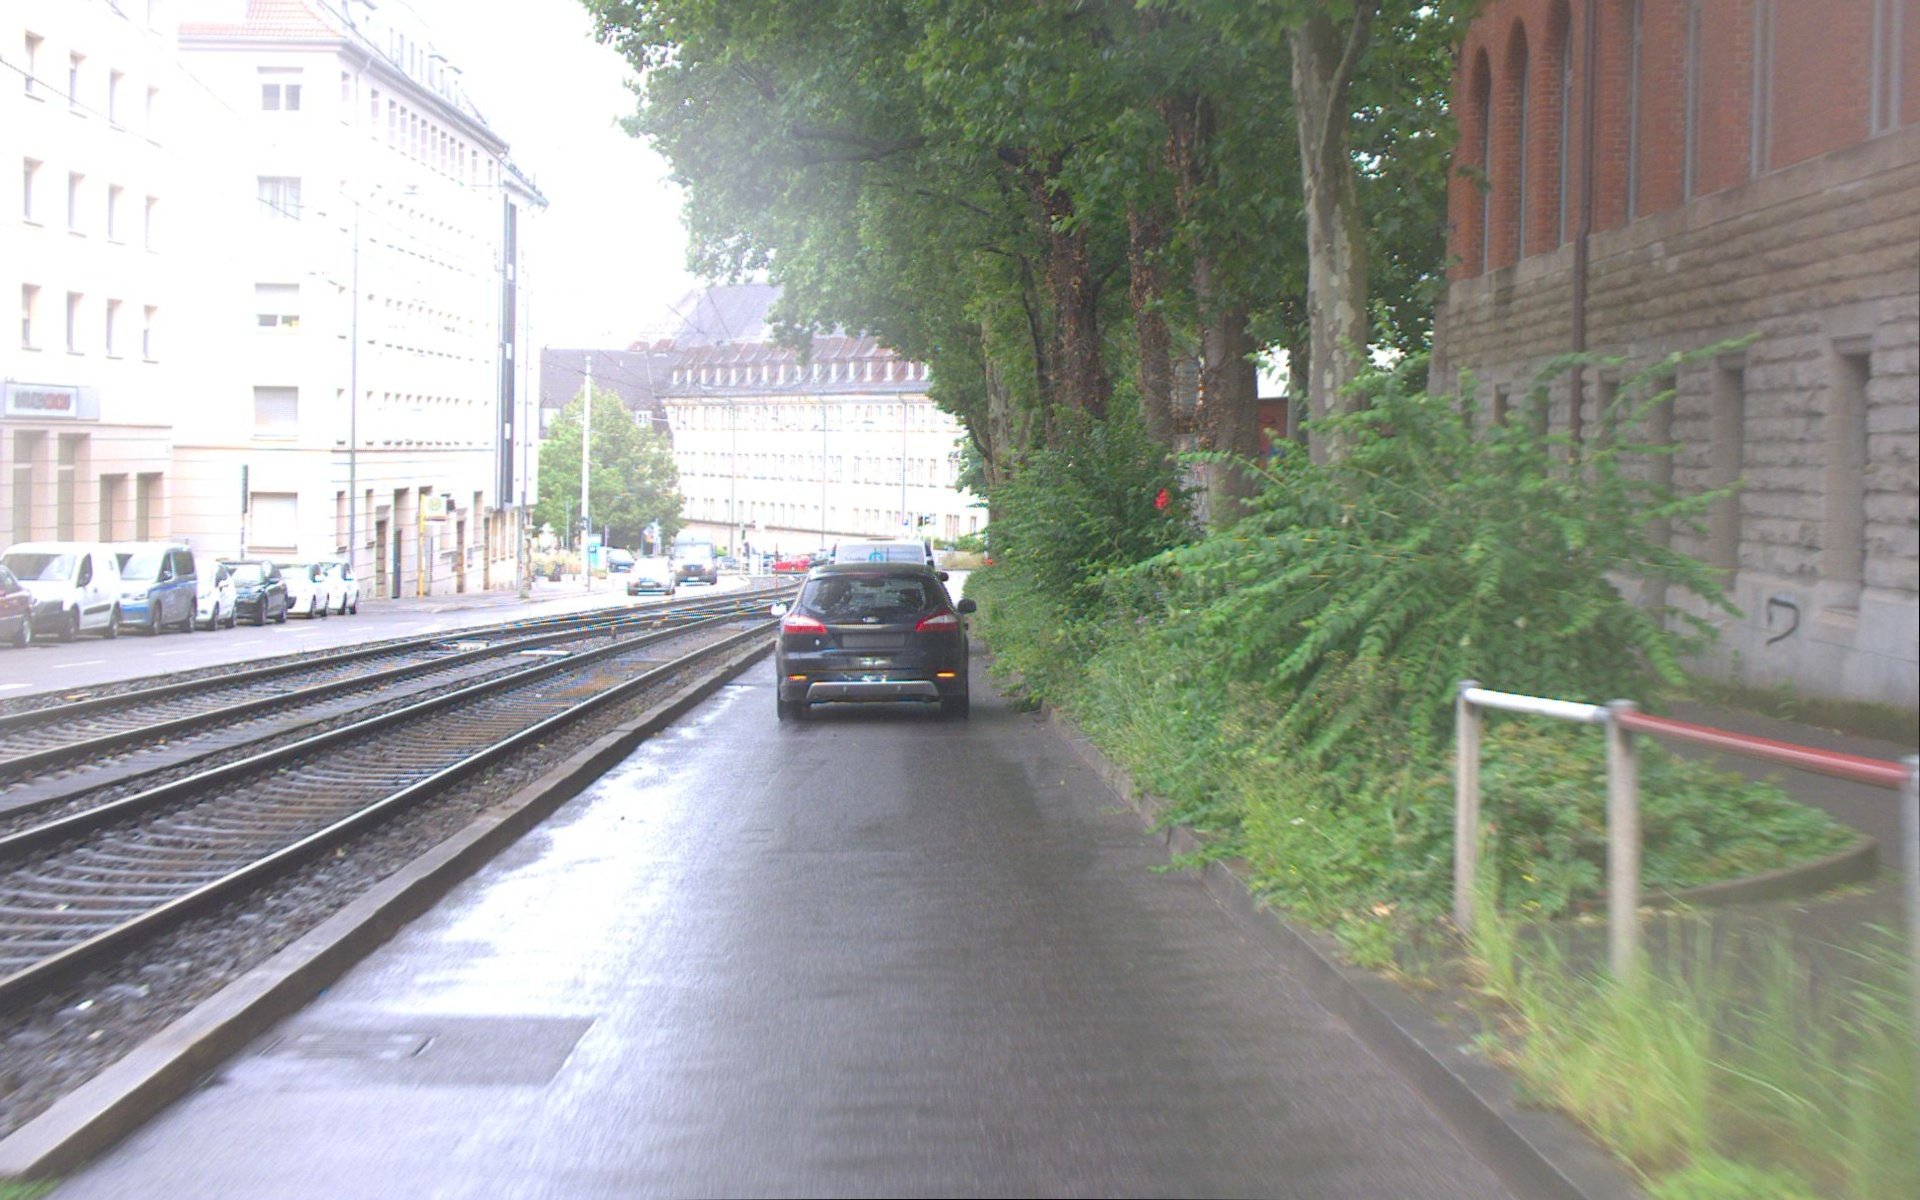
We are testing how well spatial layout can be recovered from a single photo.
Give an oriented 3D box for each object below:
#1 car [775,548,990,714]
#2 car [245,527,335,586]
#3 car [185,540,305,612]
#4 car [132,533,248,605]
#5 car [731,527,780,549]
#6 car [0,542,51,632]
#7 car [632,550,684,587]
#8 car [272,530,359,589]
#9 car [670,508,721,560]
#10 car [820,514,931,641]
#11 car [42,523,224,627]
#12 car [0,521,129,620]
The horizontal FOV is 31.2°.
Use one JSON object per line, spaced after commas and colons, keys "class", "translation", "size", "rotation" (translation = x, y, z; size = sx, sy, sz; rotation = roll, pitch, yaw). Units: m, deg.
{"class": "car", "translation": [-0.790, 0.255, 33.645], "size": [1.933, 1.448, 4.318], "rotation": [1, 1, -2]}
{"class": "car", "translation": [-16.791, -1.106, 86.281], "size": [1.703, 1.392, 3.936], "rotation": [1, 1, -4]}
{"class": "car", "translation": [-16.419, -0.577, 79.161], "size": [1.813, 1.494, 4.583], "rotation": [2, 2, 0]}
{"class": "car", "translation": [-16.496, -0.684, 73.804], "size": [1.691, 1.434, 4.050], "rotation": [0, 2, -2]}
{"class": "car", "translation": [-14.640, -4.442, 245.861], "size": [1.993, 1.537, 4.001], "rotation": [-2, 2, -27]}
{"class": "car", "translation": [-16.556, -0.237, 56.670], "size": [1.851, 1.427, 4.832], "rotation": [2, 1, 0]}
{"class": "car", "translation": [-12.368, -1.298, 141.184], "size": [1.712, 1.457, 4.281], "rotation": [0, 2, 1]}
{"class": "car", "translation": [-16.991, -1.080, 90.702], "size": [1.708, 1.445, 3.542], "rotation": [2, 1, -2]}
{"class": "car", "translation": [-12.785, -3.166, 166.393], "size": [1.993, 2.443, 5.998], "rotation": [0, 1, 0]}
{"class": "car", "translation": [-1.401, -0.401, 56.346], "size": [1.740, 2.007, 3.904], "rotation": [0, 1, -2]}
{"class": "car", "translation": [-16.440, -0.545, 68.630], "size": [1.994, 1.898, 5.459], "rotation": [2, 2, 3]}
{"class": "car", "translation": [-16.560, -0.569, 62.386], "size": [1.867, 1.711, 4.460], "rotation": [0, 1, 0]}
